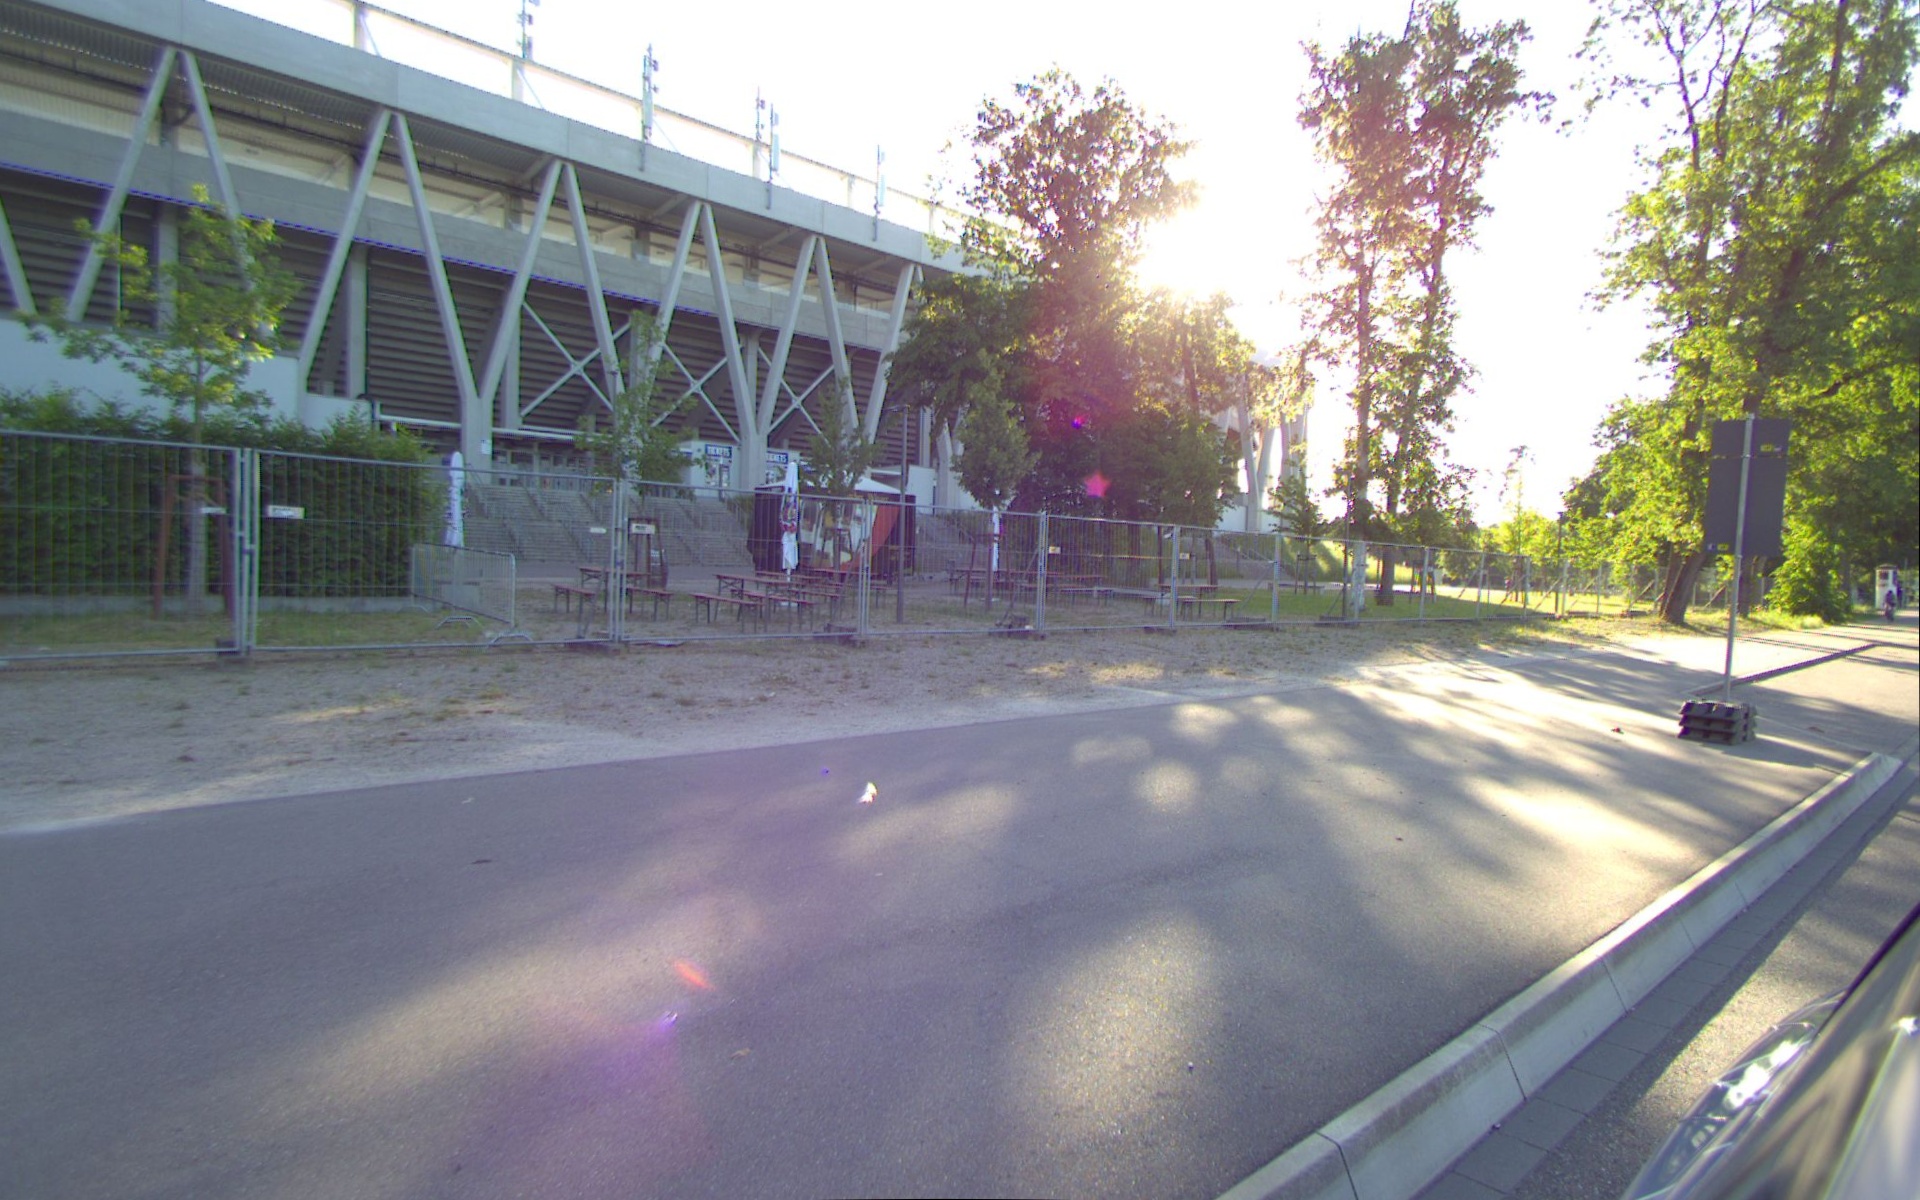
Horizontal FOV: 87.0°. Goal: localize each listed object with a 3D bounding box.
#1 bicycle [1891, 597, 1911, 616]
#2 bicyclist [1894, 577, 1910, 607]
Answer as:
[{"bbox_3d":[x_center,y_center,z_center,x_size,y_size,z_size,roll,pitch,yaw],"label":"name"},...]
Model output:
[{"bbox_3d":[45.364,0.309,48.799,1.876,0.869,0.481,0,2,-41],"label":"bicycle"},{"bbox_3d":[45.396,-0.391,48.776,0.565,1.438,0.451,0,2,-40],"label":"bicyclist"}]
